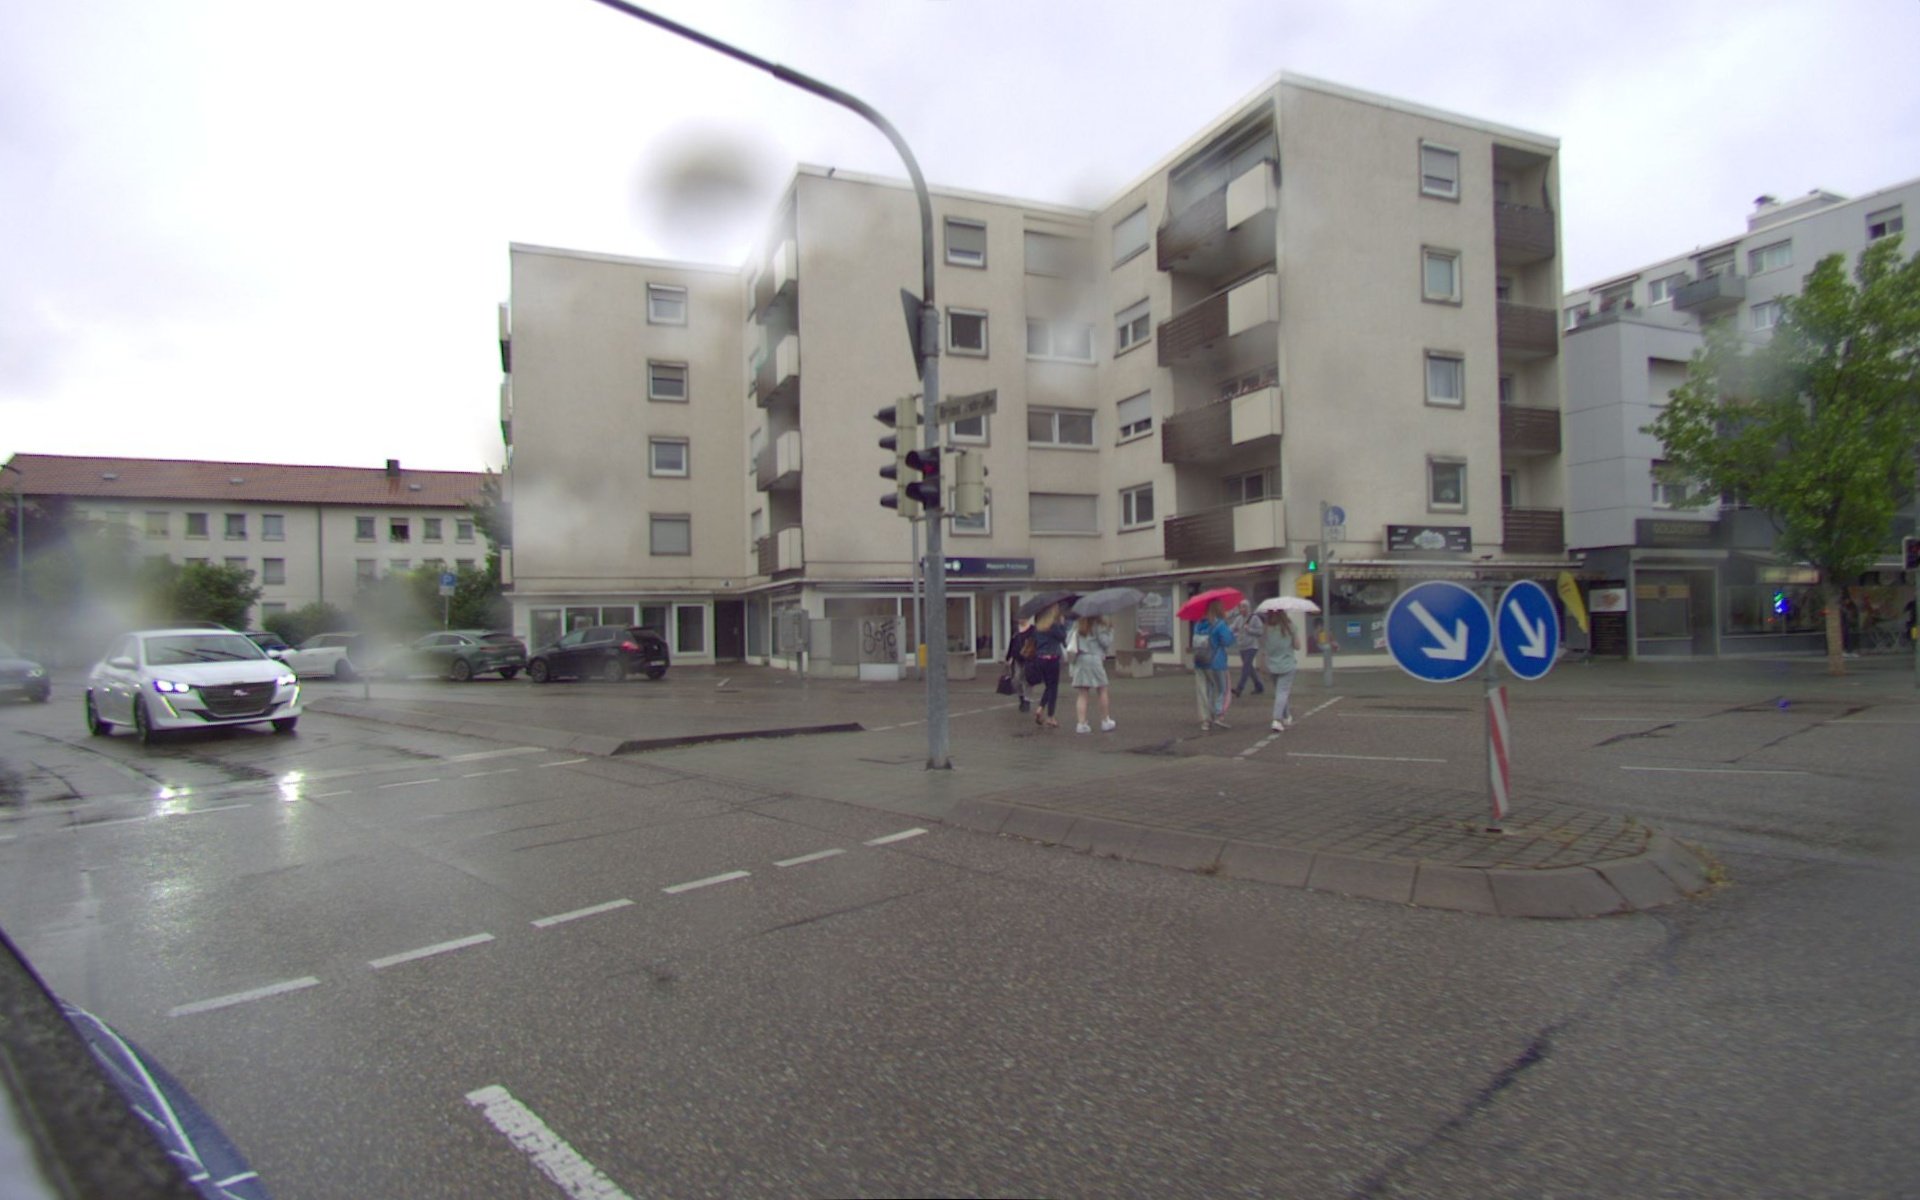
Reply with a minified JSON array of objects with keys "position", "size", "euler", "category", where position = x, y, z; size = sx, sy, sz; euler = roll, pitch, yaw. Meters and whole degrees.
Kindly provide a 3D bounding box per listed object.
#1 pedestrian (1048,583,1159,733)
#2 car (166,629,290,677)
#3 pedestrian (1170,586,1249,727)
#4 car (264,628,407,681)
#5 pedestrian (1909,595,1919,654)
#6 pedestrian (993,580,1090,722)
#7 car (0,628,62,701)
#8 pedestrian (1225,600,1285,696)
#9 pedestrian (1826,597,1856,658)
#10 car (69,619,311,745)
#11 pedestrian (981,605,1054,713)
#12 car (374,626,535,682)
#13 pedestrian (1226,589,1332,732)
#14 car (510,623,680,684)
[{"position":[1.780,0.685,12.503],"size":[0.860,1.757,1.122],"euler":[-2,-1,42],"category":"pedestrian"},{"position":[-24.345,1.744,33.657],"size":[3.856,1.517,1.621],"euler":[-1,-1,24],"category":"car"},{"position":[3.134,0.692,12.708],"size":[0.803,1.698,0.667],"euler":[-1,-1,30],"category":"pedestrian"},{"position":[-19.344,1.656,31.323],"size":[4.318,1.511,1.625],"euler":[-1,-1,23],"category":"car"},{"position":[29.545,0.736,30.944],"size":[0.483,1.807,0.570],"euler":[0,-1,-19],"category":"pedestrian"},{"position":[1.063,0.641,13.130],"size":[0.953,1.749,0.825],"euler":[-1,-1,39],"category":"pedestrian"},{"position":[-21.143,1.346,21.649],"size":[3.797,1.466,1.735],"euler":[-1,-1,29],"category":"car"},{"position":[5.265,0.847,18.066],"size":[0.813,1.668,0.706],"euler":[-2,-2,35],"category":"pedestrian"},{"position":[25.645,0.798,29.458],"size":[0.492,1.737,0.450],"euler":[0,-1,-28],"category":"pedestrian"},{"position":[-10.641,1.048,13.896],"size":[3.891,1.420,1.722],"euler":[-2,0,39],"category":"car"},{"position":[0.877,0.886,15.576],"size":[0.648,1.597,0.914],"euler":[0,-2,-45],"category":"pedestrian"},{"position":[-14.586,1.537,29.210],"size":[4.246,1.445,1.824],"euler":[-1,0,23],"category":"car"},{"position":[3.958,0.722,12.561],"size":[0.917,1.690,0.925],"euler":[-2,-1,44],"category":"pedestrian"},{"position":[-9.728,1.398,26.985],"size":[4.161,1.471,1.823],"euler":[-1,0,24],"category":"car"}]
